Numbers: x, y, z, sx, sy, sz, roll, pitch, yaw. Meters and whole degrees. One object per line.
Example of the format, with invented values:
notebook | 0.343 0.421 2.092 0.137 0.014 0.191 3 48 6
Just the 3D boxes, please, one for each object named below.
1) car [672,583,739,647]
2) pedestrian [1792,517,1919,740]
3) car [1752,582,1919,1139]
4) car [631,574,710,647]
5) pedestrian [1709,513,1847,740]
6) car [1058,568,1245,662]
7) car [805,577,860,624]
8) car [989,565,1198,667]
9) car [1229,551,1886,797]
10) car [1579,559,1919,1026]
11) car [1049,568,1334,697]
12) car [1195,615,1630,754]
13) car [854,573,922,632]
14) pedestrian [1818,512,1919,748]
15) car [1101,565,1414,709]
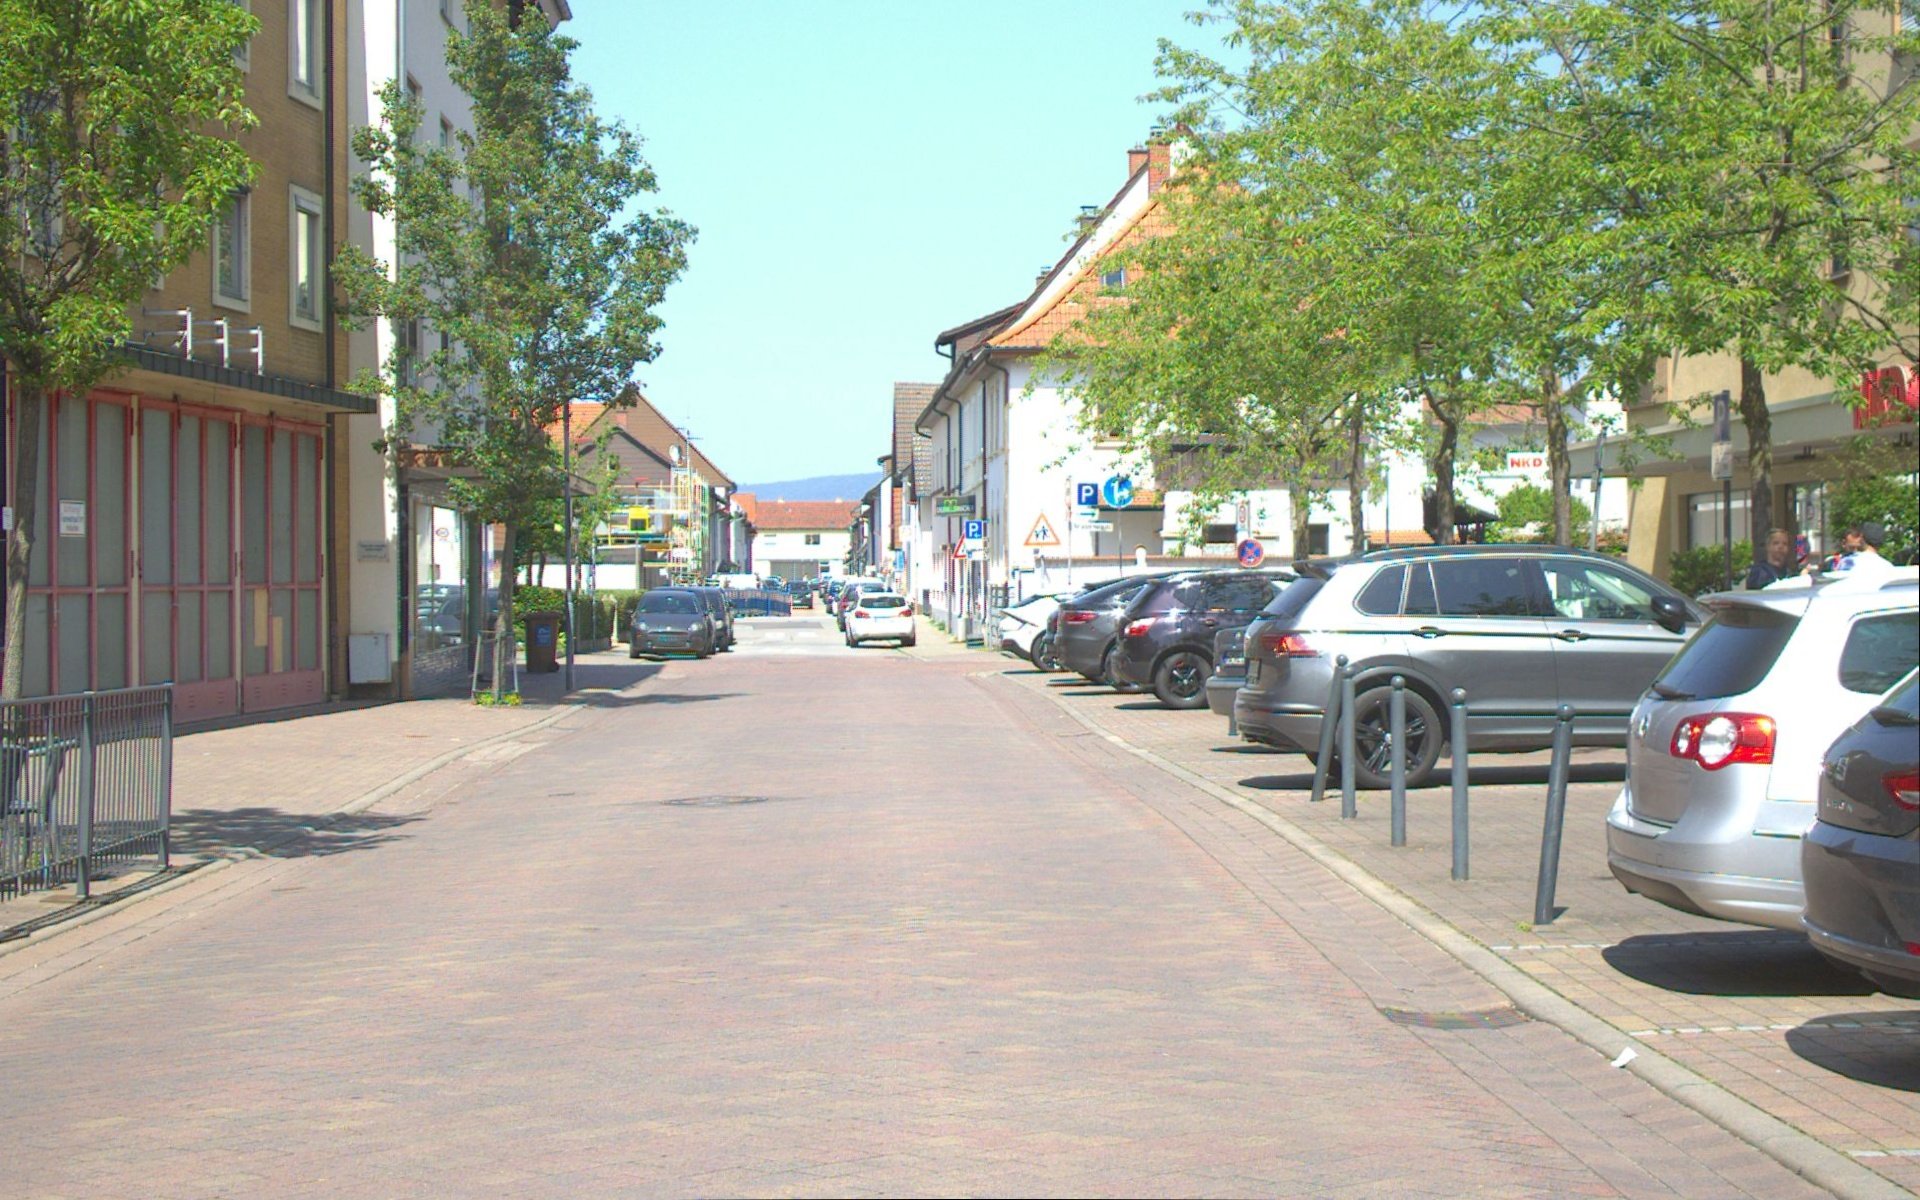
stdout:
car | -6.507 0.367 88.026 1.507 1.495 3.827 0 1 -1
pedestrian | 7.343 0.220 28.036 0.837 1.781 0.807 -1 1 -8
car | 4.446 0.674 9.983 3.938 1.484 1.715 -1 0 4
car | -6.375 0.205 76.068 1.507 1.495 3.827 0 1 -1
pedestrian | 6.518 0.198 27.423 0.837 1.781 0.807 -1 1 -8
car | 3.560 0.281 64.238 3.347 1.709 1.470 0 0 -2
car | -4.237 0.000 114.609 1.747 1.476 3.629 0 1 -1
car | 2.357 0.274 61.141 3.477 1.695 1.536 -2 0 -6
car | 4.073 0.485 23.818 4.243 1.610 1.558 -1 1 -2
car | 4.513 0.640 12.651 4.153 1.568 1.759 0 1 0
car | 2.986 0.412 44.761 3.521 1.619 1.711 0 0 -2
car | 3.878 0.714 29.714 3.521 1.138 1.274 0 0 -5
car | -2.000 0.059 94.993 1.831 1.527 3.946 0 1 -1
pedestrian | 7.038 0.220 26.381 0.838 1.781 0.806 0 1 11
car | 3.513 0.436 41.007 3.521 1.649 1.711 0 0 -2
